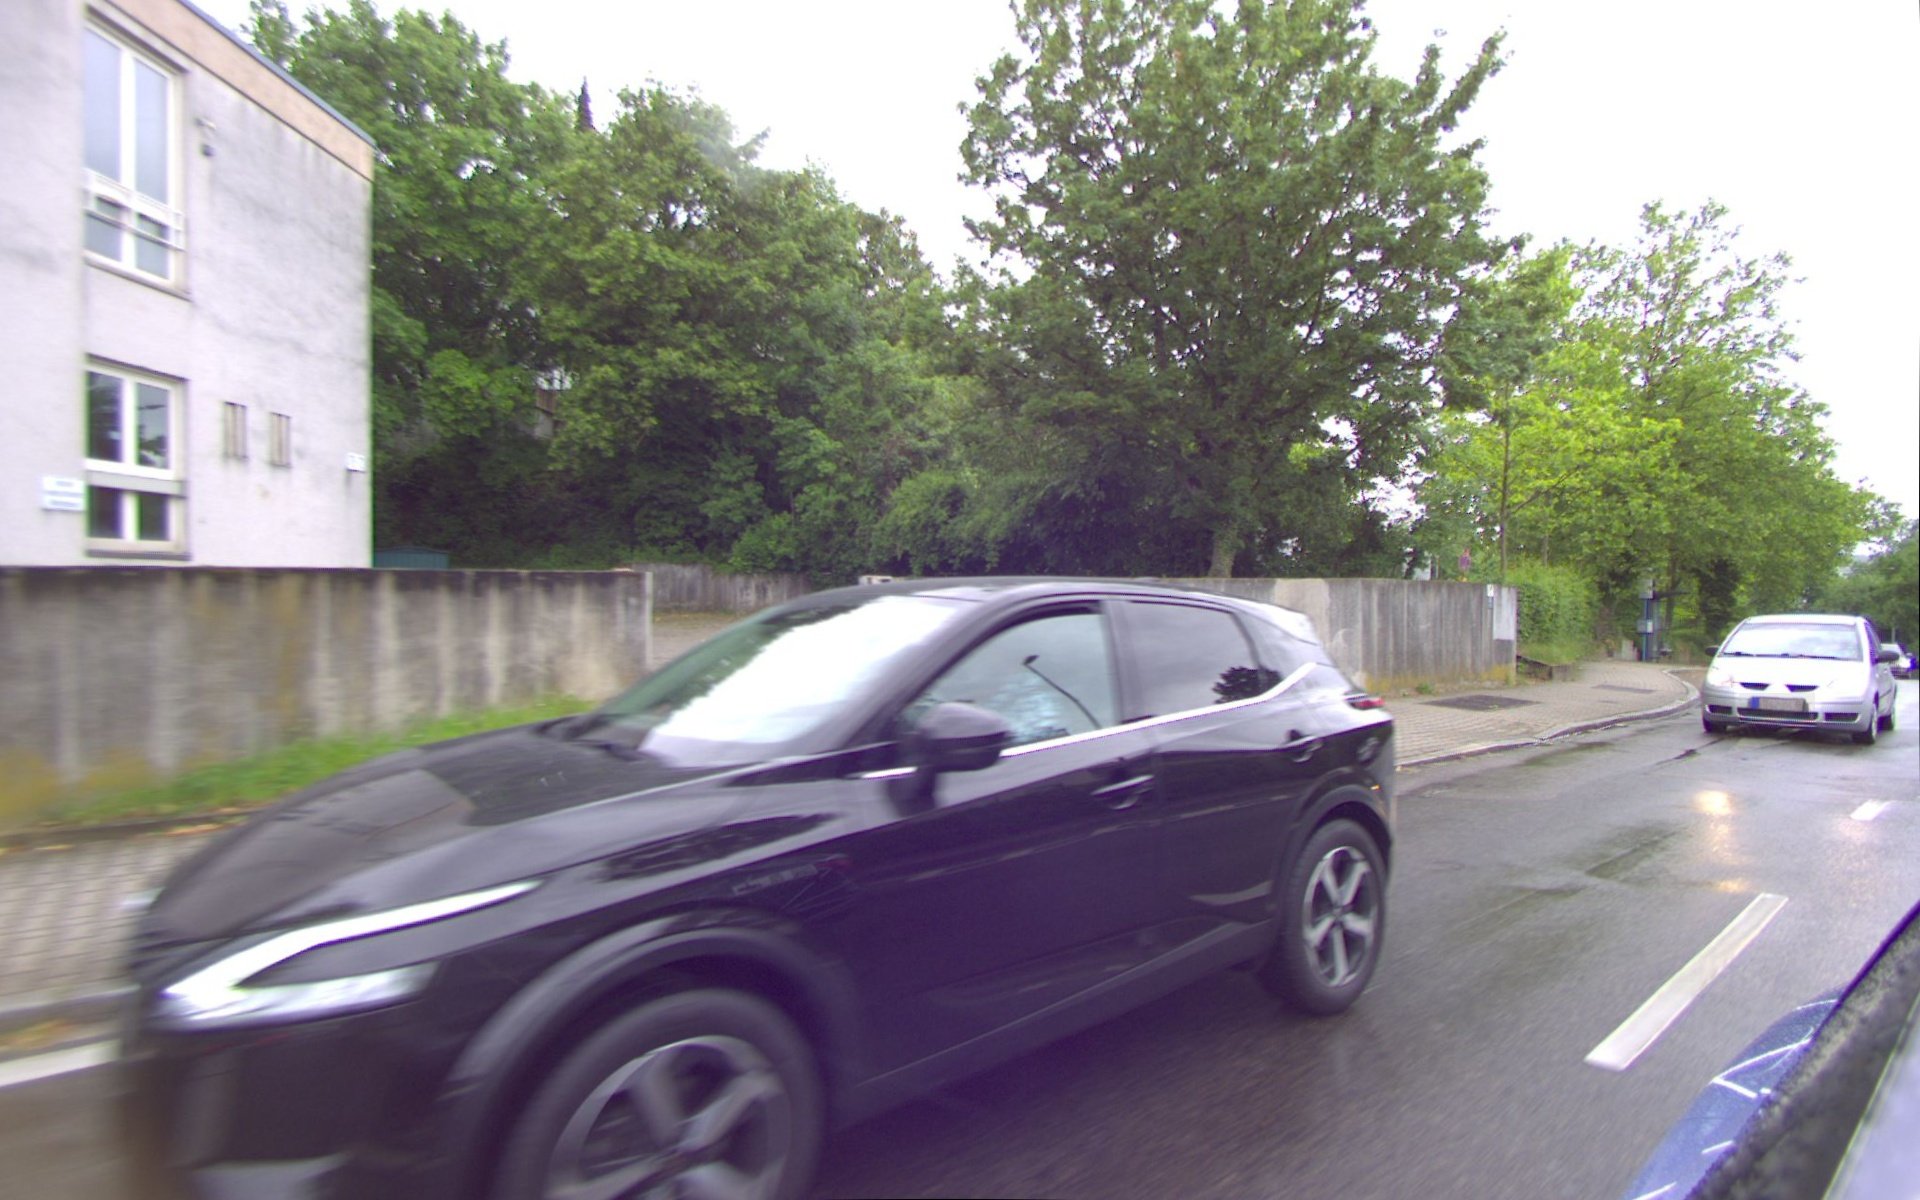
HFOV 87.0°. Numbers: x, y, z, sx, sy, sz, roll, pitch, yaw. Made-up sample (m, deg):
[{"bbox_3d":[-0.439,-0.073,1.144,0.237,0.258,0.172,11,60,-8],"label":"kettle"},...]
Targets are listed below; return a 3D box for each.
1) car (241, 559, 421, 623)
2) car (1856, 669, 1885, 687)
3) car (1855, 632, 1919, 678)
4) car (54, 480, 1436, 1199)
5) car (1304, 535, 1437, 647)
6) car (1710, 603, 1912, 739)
[{"bbox_3d":[-14.943,-0.234,24.165,3.377,1.393,1.483,1,2,-1],"label":"car"},{"bbox_3d":[79.892,6.819,88.833,1.682,1.473,3.349,1,-3,39],"label":"car"},{"bbox_3d":[37.821,2.243,40.935,3.932,1.724,2.031,6,-6,-43],"label":"car"},{"bbox_3d":[-0.237,0.648,3.468,4.177,1.624,1.793,0,0,-40],"label":"car"},{"bbox_3d":[9.729,-0.127,23.798,1.988,2.256,4.078,0,-4,36],"label":"car"},{"bbox_3d":[11.245,0.816,13.278,3.933,1.524,1.637,1,-1,-44],"label":"car"}]
